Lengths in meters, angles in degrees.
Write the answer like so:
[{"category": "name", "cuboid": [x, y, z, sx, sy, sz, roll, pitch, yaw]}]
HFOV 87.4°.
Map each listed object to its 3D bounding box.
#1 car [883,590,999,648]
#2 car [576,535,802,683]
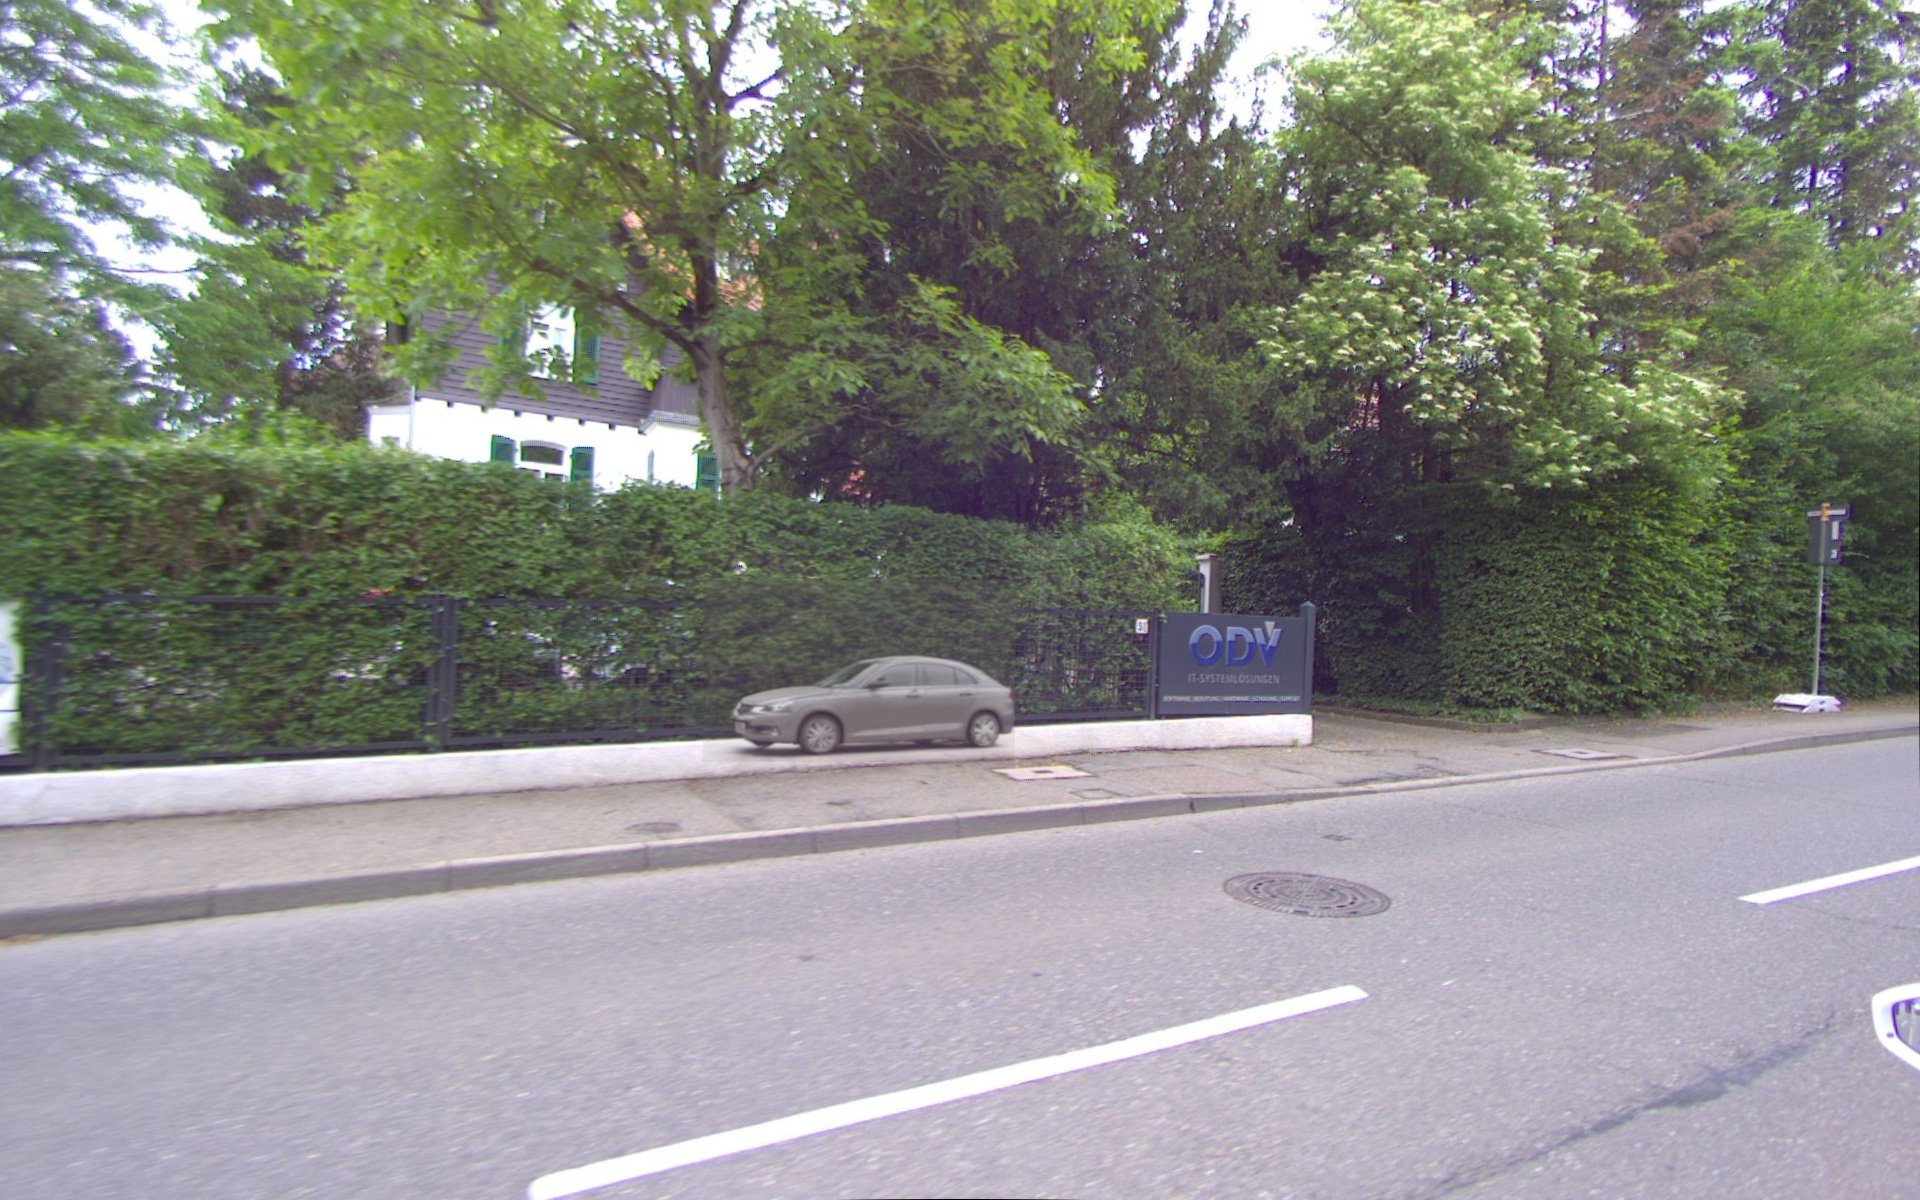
[{"category": "car", "cuboid": [-0.618, 0.560, 27.928, 1.971, 1.438, 3.981, 2, -2, -21]}, {"category": "car", "cuboid": [-3.643, 0.167, 12.968, 1.975, 1.572, 3.972, 3, -2, -27]}]
